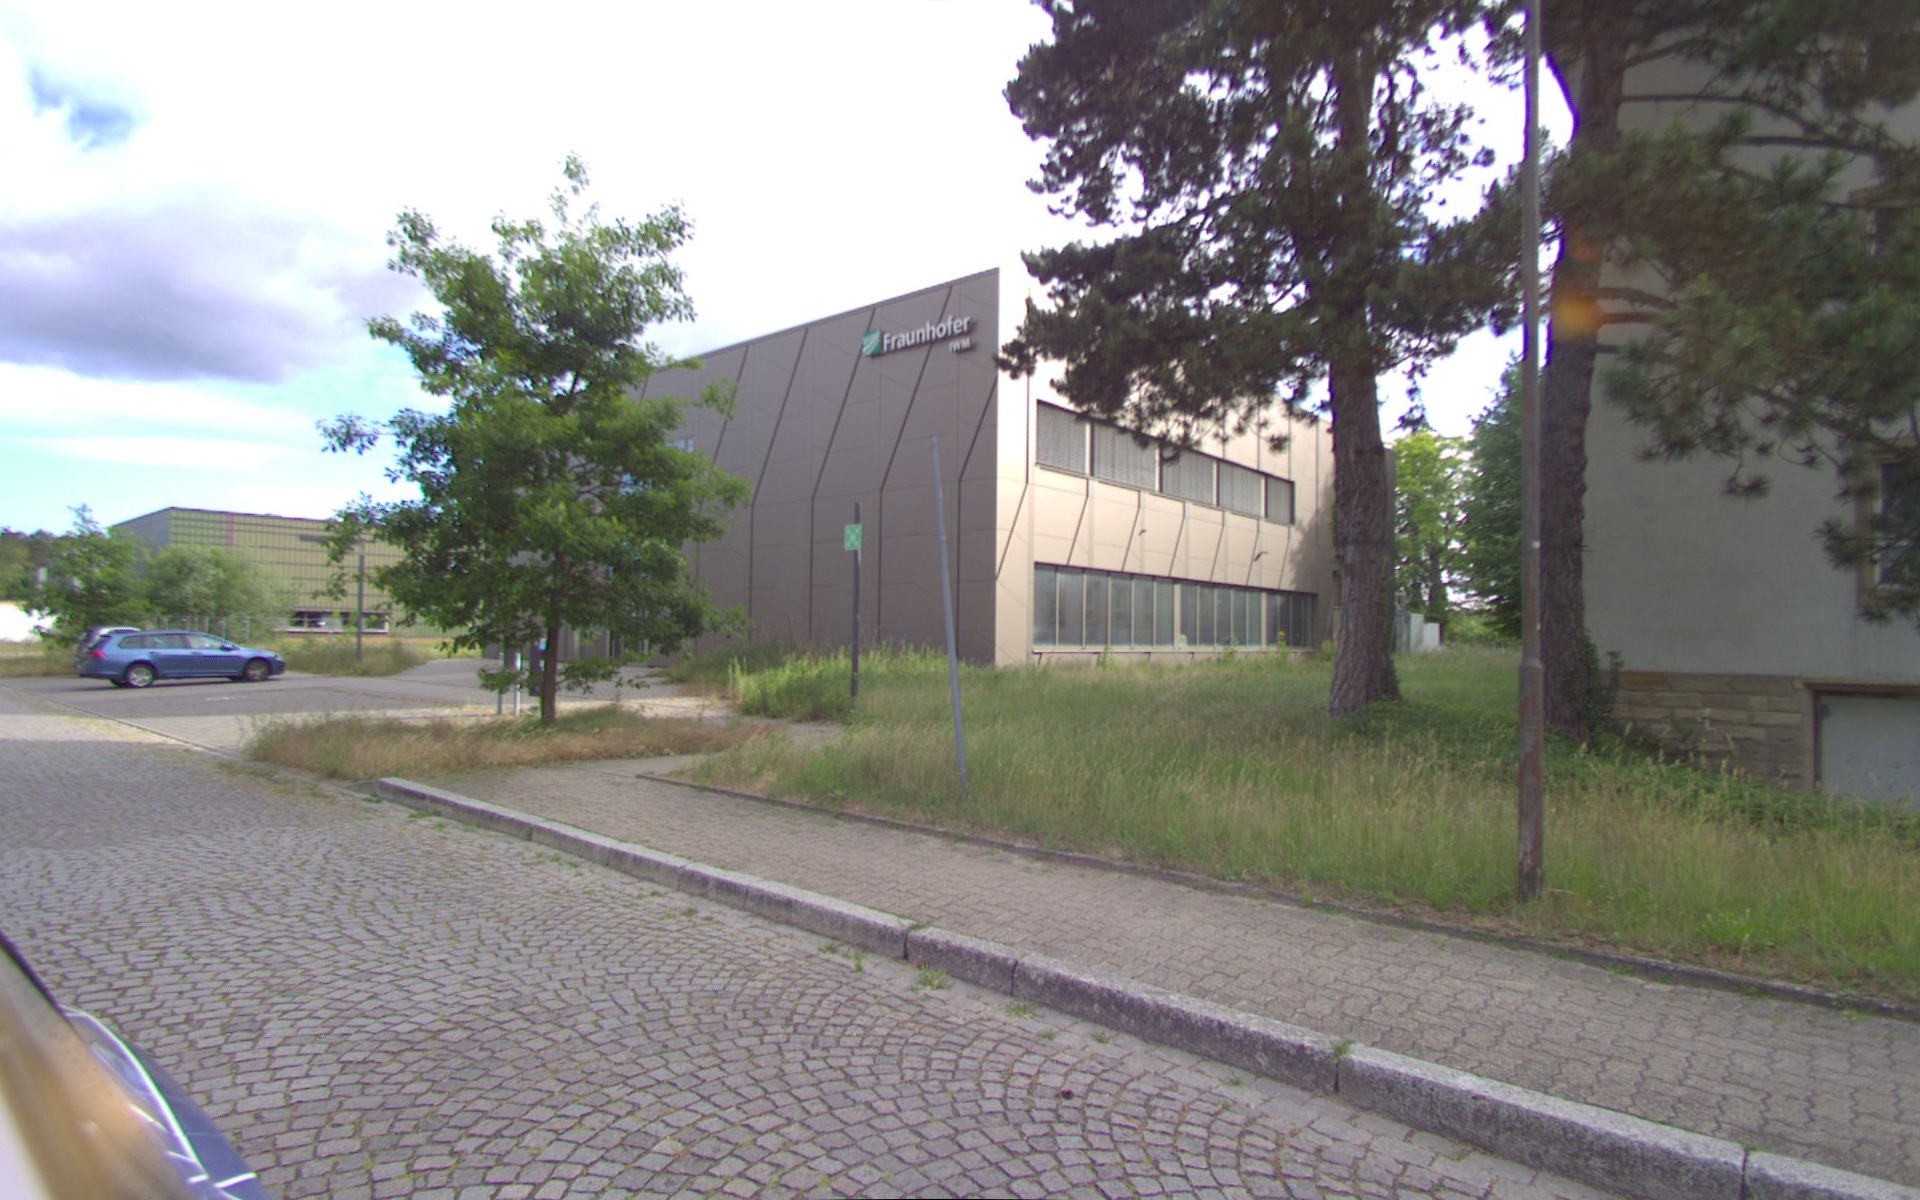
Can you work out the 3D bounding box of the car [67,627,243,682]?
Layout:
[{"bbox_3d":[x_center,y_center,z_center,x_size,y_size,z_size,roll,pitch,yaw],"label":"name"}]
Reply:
[{"bbox_3d":[-26.008,1.722,32.790,4.339,1.558,1.843,0,-1,-43],"label":"car"}]

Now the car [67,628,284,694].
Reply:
[{"bbox_3d":[-21.047,1.583,27.302,1.714,1.522,4.350,-1,-1,38],"label":"car"}]
